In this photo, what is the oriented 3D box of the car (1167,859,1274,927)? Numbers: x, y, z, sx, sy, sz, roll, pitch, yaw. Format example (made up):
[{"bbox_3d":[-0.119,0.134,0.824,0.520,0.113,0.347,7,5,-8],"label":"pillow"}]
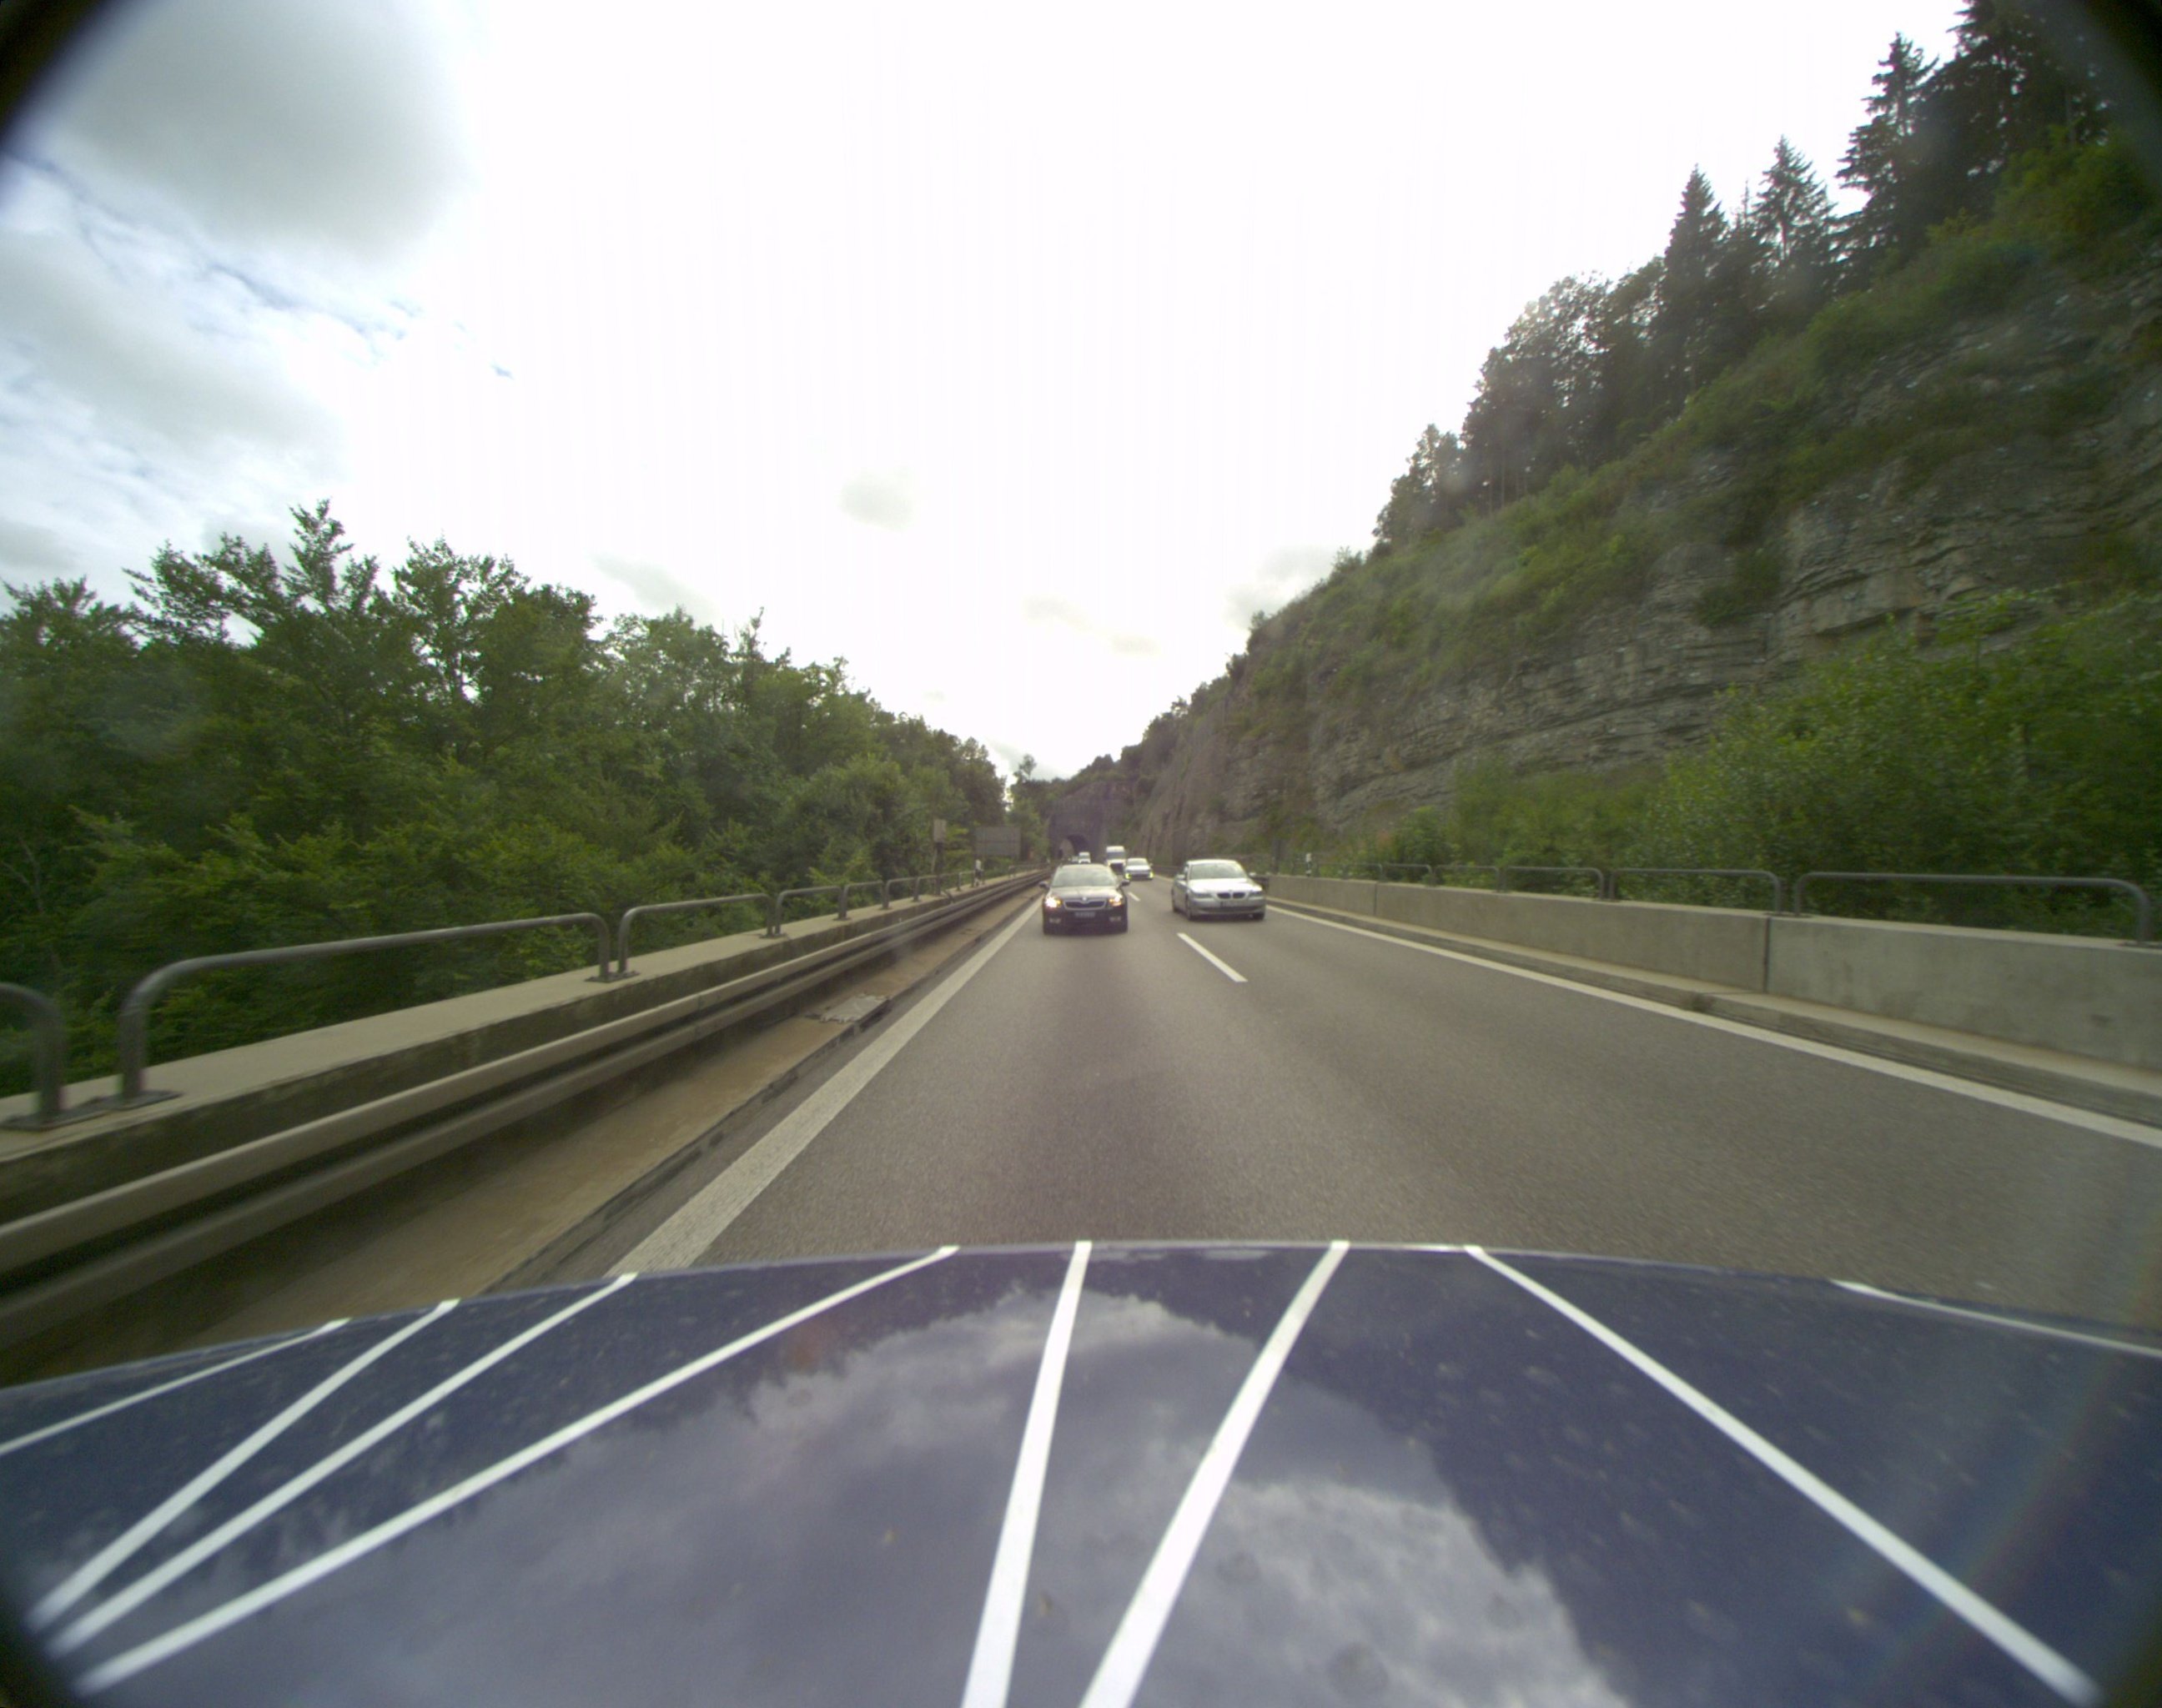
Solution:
[{"bbox_3d":[3.426,0.894,19.700,1.832,1.448,5.135,-2,0,1],"label":"car"}]

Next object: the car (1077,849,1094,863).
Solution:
[{"bbox_3d":[0.705,0.322,134.877,2.674,2.408,6.120,-2,0,-2],"label":"car"}]

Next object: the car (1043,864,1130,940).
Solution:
[{"bbox_3d":[0.121,0.974,17.238,1.677,1.418,4.473,-2,0,0],"label":"car"}]

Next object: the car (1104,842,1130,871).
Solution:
[{"bbox_3d":[3.315,0.194,71.122,1.869,2.444,4.981,-2,2,-2],"label":"car"}]

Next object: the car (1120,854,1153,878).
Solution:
[{"bbox_3d":[3.673,0.792,50.944,1.922,1.452,4.231,-2,0,1],"label":"car"}]

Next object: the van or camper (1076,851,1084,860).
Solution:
[{"bbox_3d":[-0.275,0.303,183.539,1.998,2.002,4.000,-2,0,0],"label":"van or camper"}]
